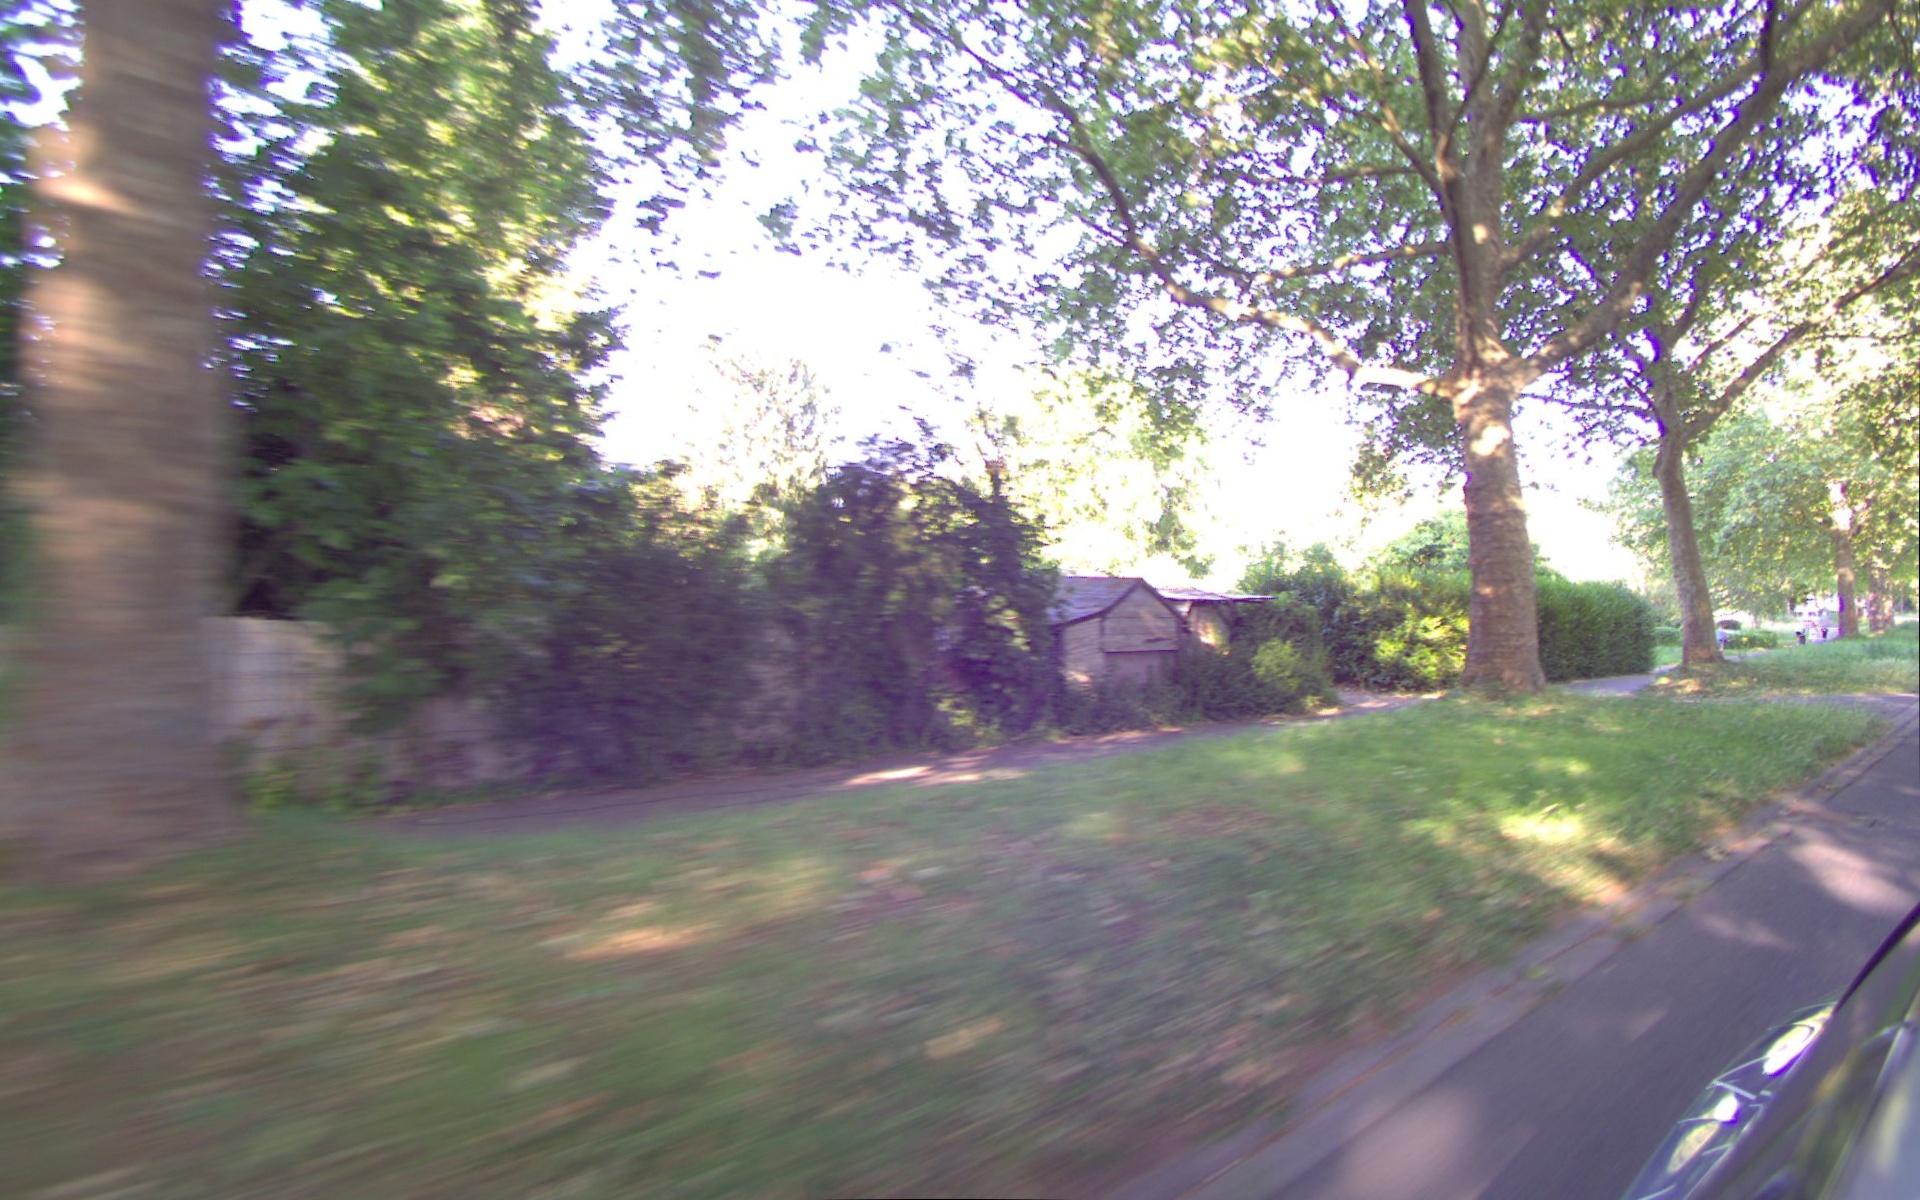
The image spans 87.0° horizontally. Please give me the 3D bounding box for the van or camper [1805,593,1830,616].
[{"bbox_3d":[111.876,0.564,132.050,2.378,2.835,5.602,0,0,40],"label":"van or camper"}]

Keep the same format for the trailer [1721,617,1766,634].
[{"bbox_3d":[51.149,1.660,66.075,1.180,1.066,2.121,0,1,-41],"label":"trailer"}]

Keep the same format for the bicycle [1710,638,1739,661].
[{"bbox_3d":[30.564,1.965,40.453,1.855,0.827,0.553,-1,0,-40],"label":"bicycle"}]

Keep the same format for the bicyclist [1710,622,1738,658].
[{"bbox_3d":[30.491,1.571,40.382,0.757,1.383,0.735,0,0,-40],"label":"bicyclist"}]

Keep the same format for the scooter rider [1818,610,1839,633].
[{"bbox_3d":[63.229,1.563,73.652,0.828,1.596,0.785,0,-1,-3],"label":"scooter rider"}]

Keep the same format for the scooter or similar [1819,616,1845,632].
[{"bbox_3d":[63.453,1.780,73.647,1.568,1.149,0.341,0,0,-2],"label":"scooter or similar"}]

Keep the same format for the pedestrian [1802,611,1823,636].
[{"bbox_3d":[57.448,1.573,68.195,0.769,1.596,0.845,0,0,-32],"label":"pedestrian"}]
